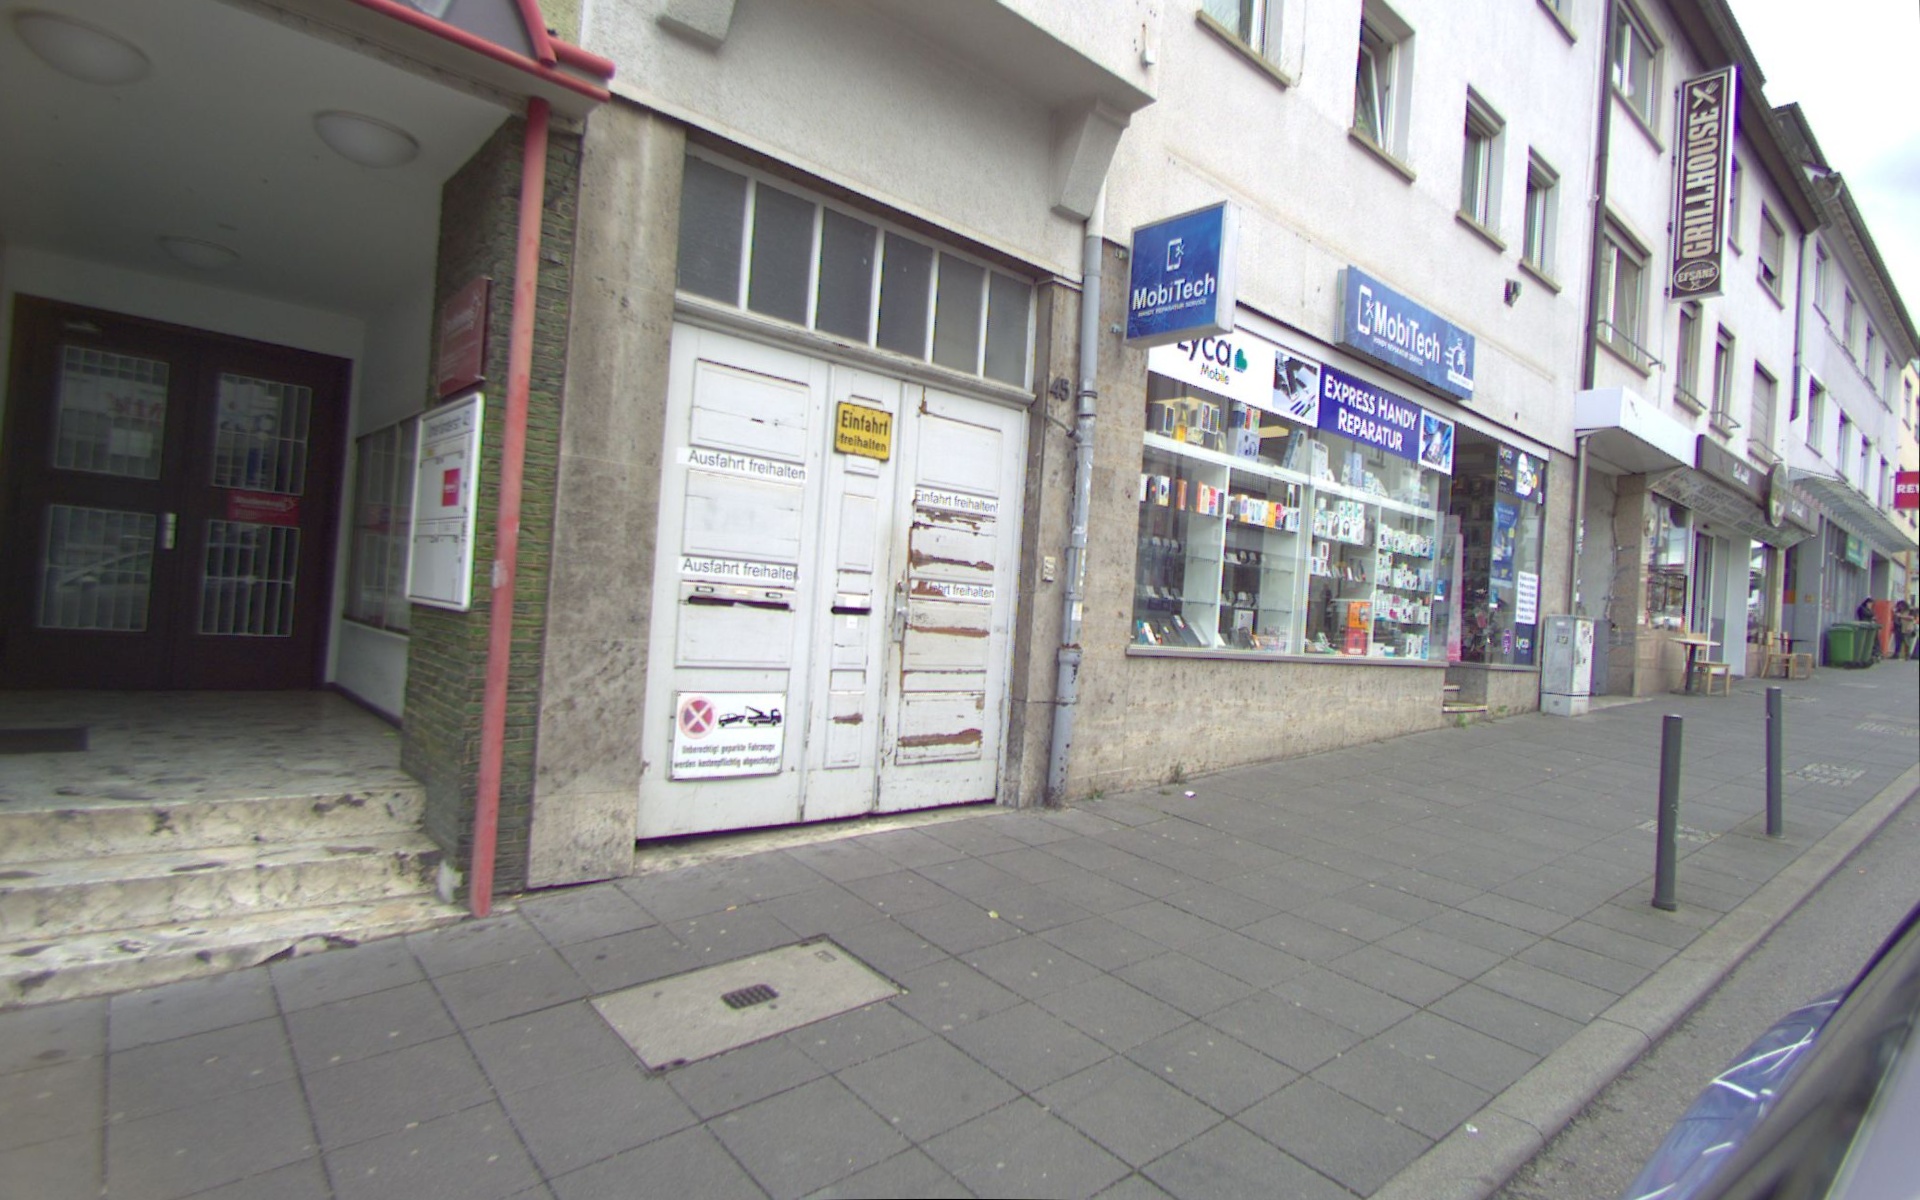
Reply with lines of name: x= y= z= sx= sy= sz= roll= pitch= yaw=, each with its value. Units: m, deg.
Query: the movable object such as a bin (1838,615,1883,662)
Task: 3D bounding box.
movable object such as a bin: x=20.788 y=0.876 z=23.368 sx=0.550 sy=1.043 sz=0.670 roll=1 pitch=1 yaw=-40

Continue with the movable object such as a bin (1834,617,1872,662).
movable object such as a bin: x=20.302 y=0.891 z=23.010 sx=0.489 sy=0.968 sz=0.568 roll=1 pitch=1 yaw=-41

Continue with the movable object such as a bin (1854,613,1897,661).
movable object such as a bin: x=21.891 y=0.869 z=24.189 sx=0.648 sy=1.094 sz=0.652 roll=1 pitch=1 yaw=-41

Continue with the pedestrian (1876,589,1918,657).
pedestrian: x=24.116 y=0.580 z=26.053 sx=0.621 sy=1.748 sz=0.601 roll=0 pitch=0 yaw=26

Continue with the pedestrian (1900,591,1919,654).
pedestrian: x=27.143 y=0.639 z=28.681 sx=0.626 sy=1.746 sz=0.597 roll=5 pitch=3 yaw=44

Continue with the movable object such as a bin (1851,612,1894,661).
movable object such as a bin: x=21.378 y=0.850 z=23.710 sx=0.661 sy=1.094 sz=0.652 roll=1 pitch=1 yaw=-41

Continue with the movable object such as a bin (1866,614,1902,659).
movable object such as a bin: x=22.800 y=0.888 z=24.982 sx=0.549 sy=1.070 sz=0.559 roll=1 pitch=1 yaw=-41
